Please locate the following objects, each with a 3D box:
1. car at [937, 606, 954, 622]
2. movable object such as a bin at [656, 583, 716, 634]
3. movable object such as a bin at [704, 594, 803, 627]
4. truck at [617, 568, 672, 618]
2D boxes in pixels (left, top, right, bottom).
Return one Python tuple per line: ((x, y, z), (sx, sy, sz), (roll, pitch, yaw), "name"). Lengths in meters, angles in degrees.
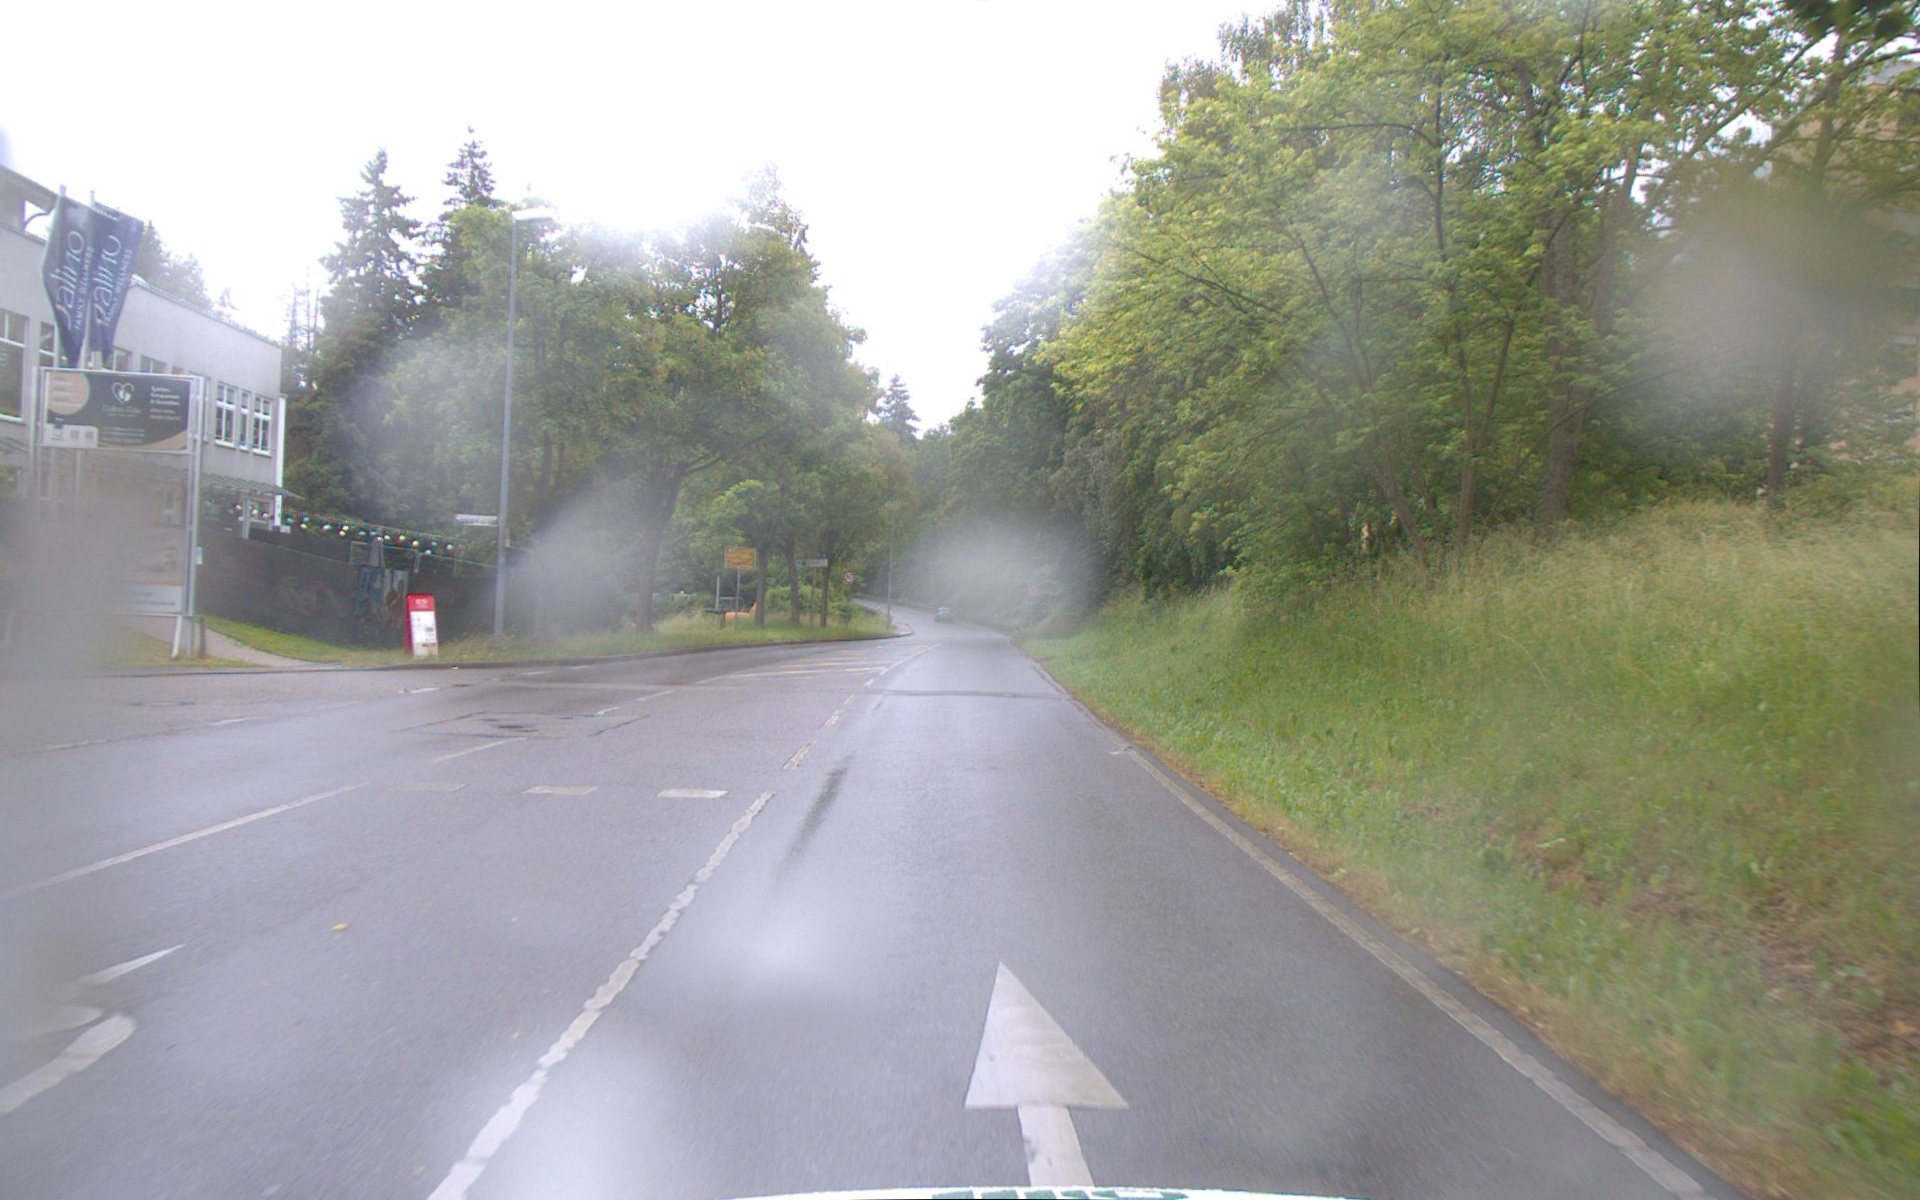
((-1.526, 1.409, 169.498), (1.701, 1.537, 3.999), (0, 0, -1), "car")
((-16.471, 0.552, 99.675), (1.951, 2.911, 4.002), (2, -1, 15), "movable object such as a bin")
((-13.201, 0.696, 106.585), (1.812, 1.941, 7.889), (1, -1, 31), "movable object such as a bin")
((-16.821, -0.390, 88.415), (1.953, 2.501, 5.221), (3, 0, -1), "truck")
